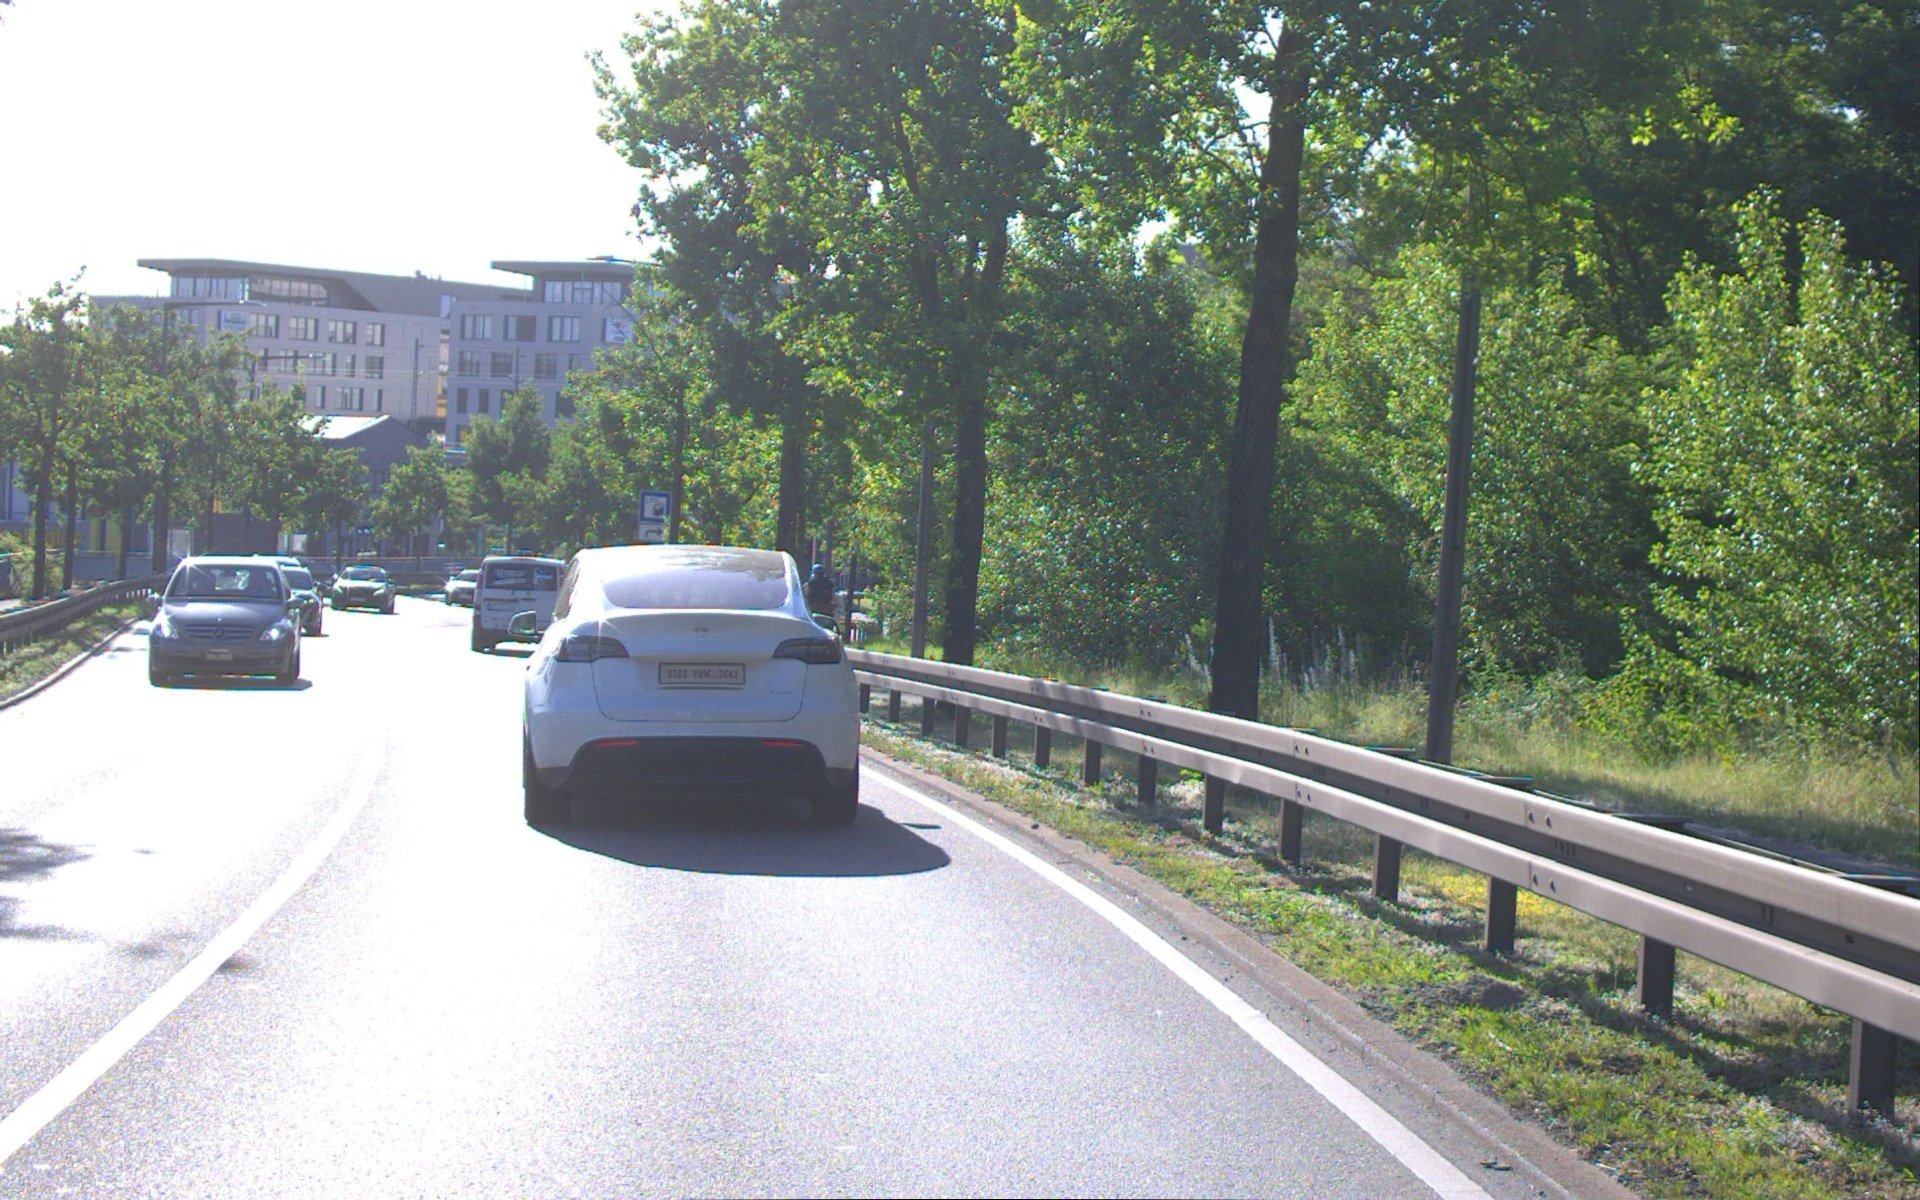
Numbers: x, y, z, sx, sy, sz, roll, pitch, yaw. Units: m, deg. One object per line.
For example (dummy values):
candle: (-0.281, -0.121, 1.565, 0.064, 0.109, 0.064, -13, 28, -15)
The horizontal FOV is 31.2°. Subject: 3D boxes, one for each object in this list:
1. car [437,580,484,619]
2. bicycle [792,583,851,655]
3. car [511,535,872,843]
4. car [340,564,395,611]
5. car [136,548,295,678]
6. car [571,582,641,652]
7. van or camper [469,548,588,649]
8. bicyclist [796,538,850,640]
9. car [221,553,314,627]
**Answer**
car: (-20.139, -0.037, 138.495, 1.809, 1.491, 4.370, 2, 1, -8)
bicycle: (-2.172, 0.310, 54.065, 0.701, 1.071, 1.921, 2, -1, 4)
car: (-1.740, 0.463, 20.914, 1.913, 1.635, 4.411, 2, 1, -8)
car: (-19.391, -0.422, 112.612, 1.691, 1.436, 4.217, 2, 1, -9)
car: (-9.515, 0.136, 44.164, 1.808, 1.549, 4.141, 2, 1, -10)
car: (-8.885, 0.401, 86.101, 1.604, 1.429, 3.680, 4, 3, -7)
van or camper: (-8.525, -0.056, 68.277, 1.958, 1.877, 4.880, 2, 1, -3)
bicyclist: (-2.157, -0.181, 54.088, 0.707, 1.573, 1.004, 2, 0, 3)
car: (-14.868, -0.239, 73.933, 1.849, 1.486, 4.718, 2, 1, -10)
